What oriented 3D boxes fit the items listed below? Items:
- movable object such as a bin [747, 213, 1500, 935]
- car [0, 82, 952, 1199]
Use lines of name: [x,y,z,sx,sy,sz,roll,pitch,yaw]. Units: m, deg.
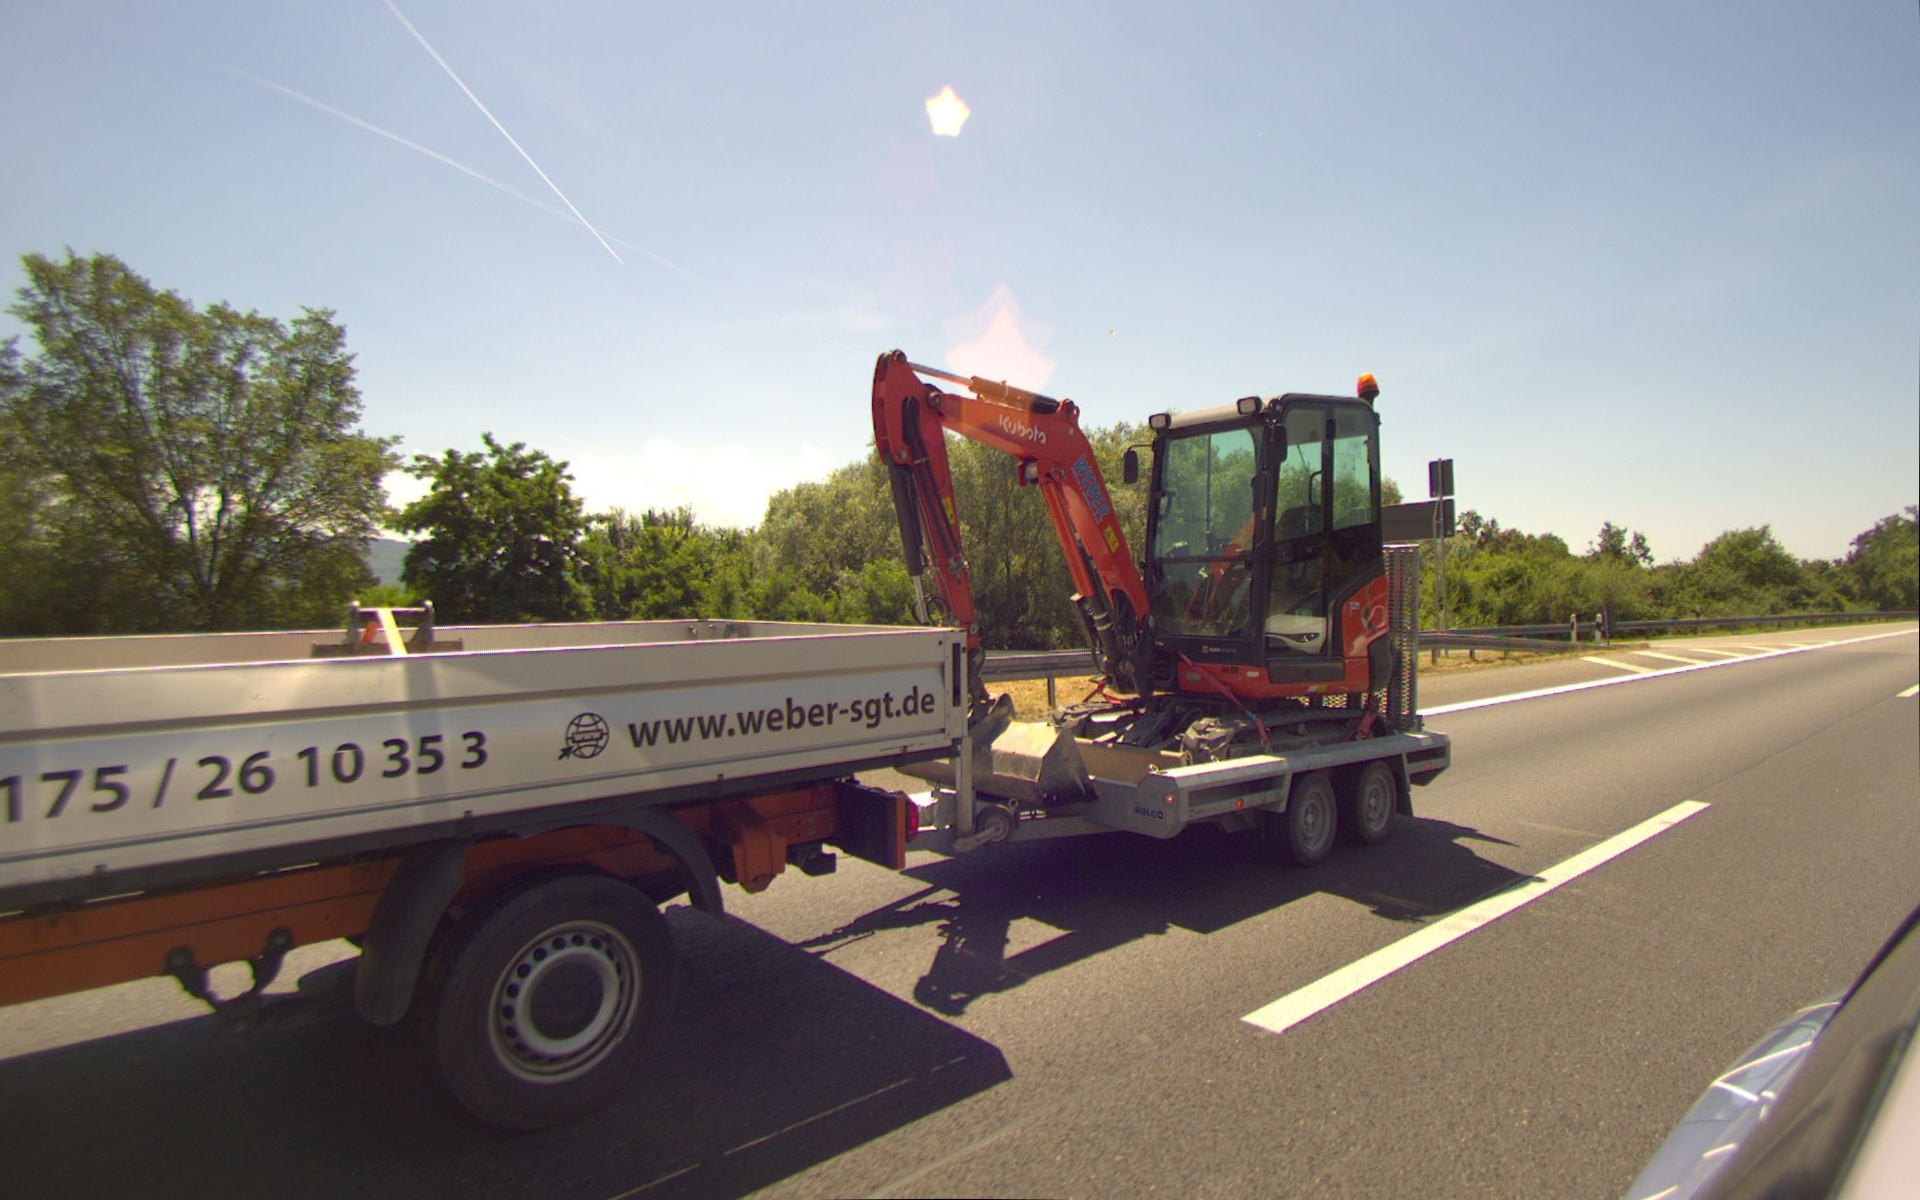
movable object such as a bin: [1.286,-0.120,6.364,4.678,2.851,2.177,0,0,-41]
car: [-3.357,0.191,2.097,7.100,2.435,1.997,-1,0,-41]
